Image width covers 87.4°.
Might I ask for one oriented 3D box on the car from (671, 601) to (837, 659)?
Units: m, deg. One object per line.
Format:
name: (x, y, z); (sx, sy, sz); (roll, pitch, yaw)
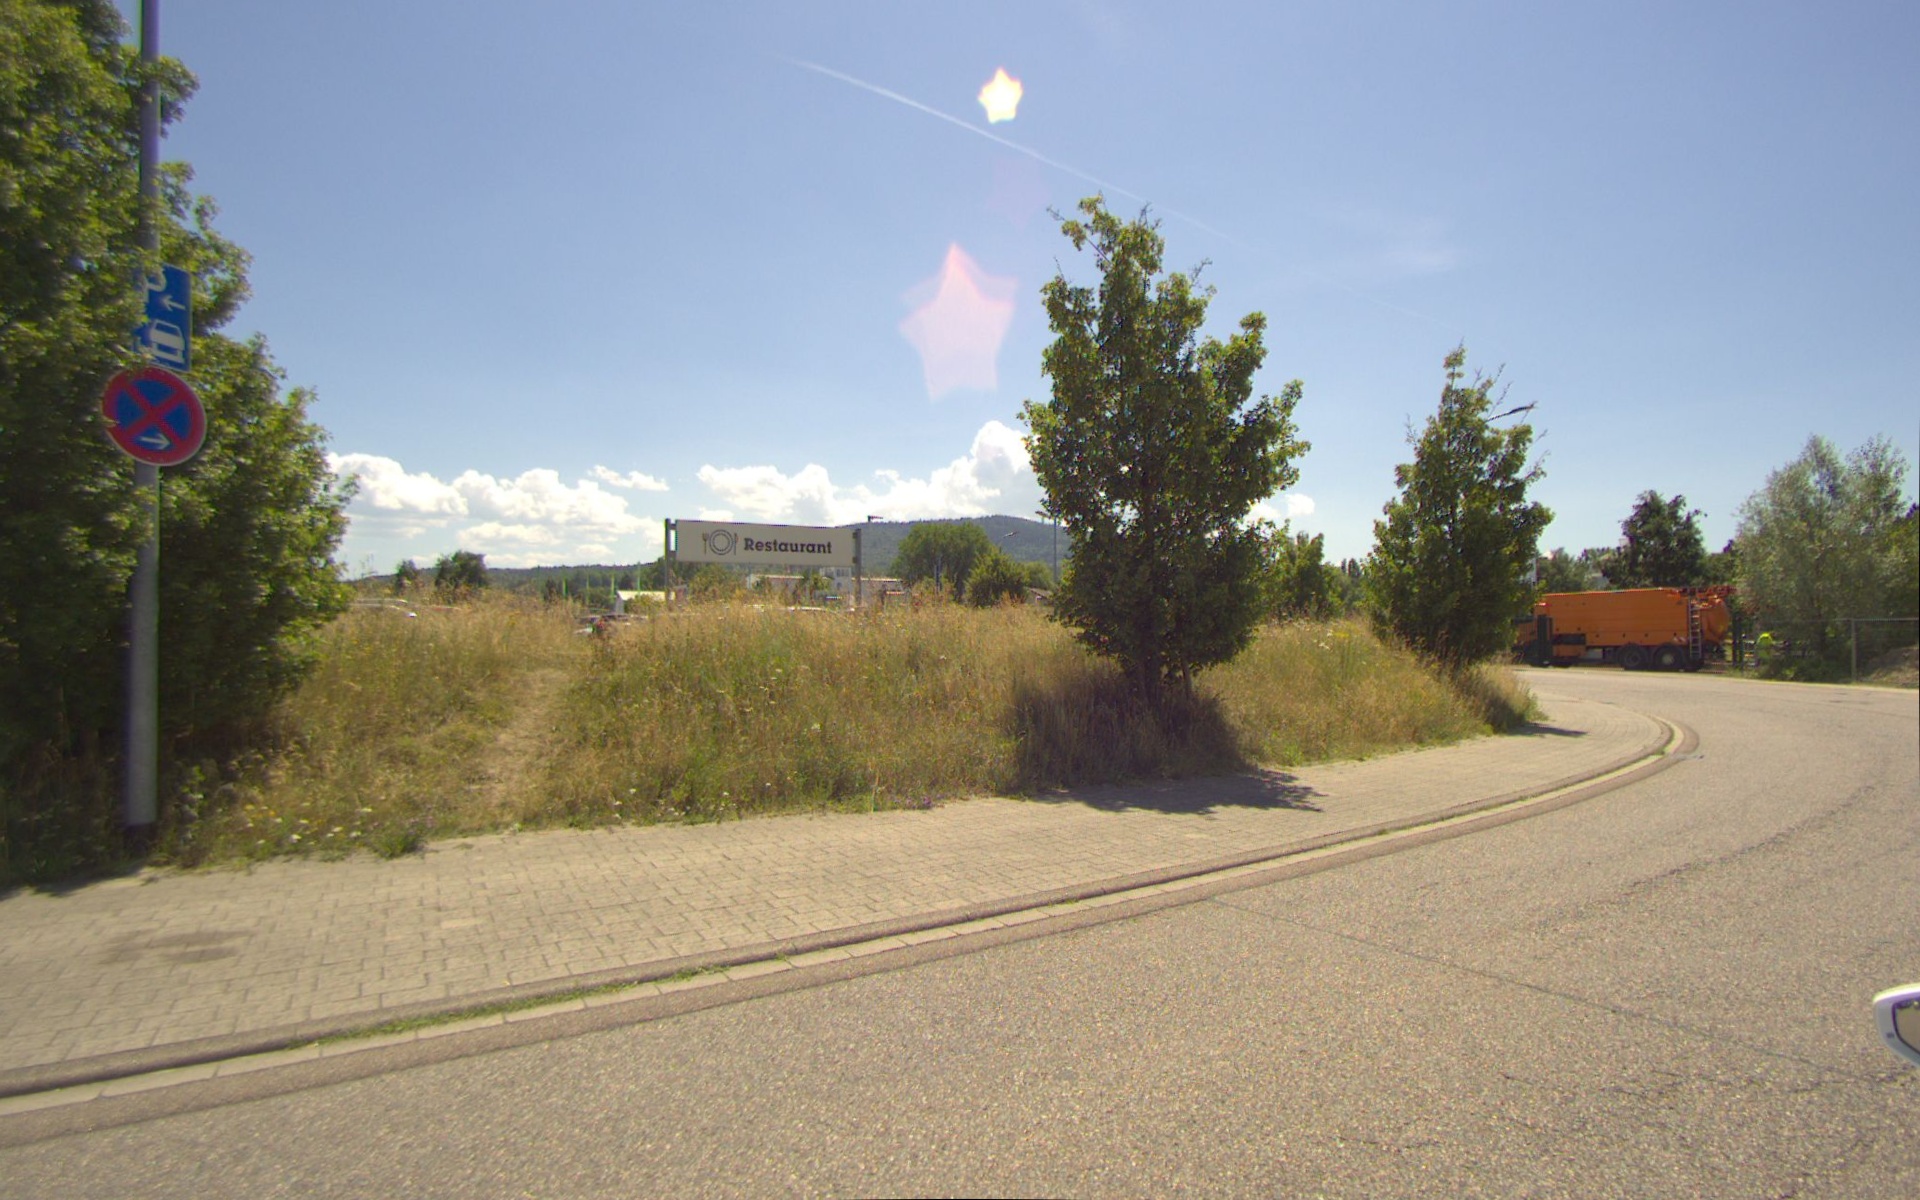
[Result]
car: (-5.511, 0.784, 26.940); (3.955, 1.431, 1.983); (1, -1, -32)

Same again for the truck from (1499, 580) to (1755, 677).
truck: (29.292, 1.276, 44.600); (4.119, 3.856, 8.537); (1, -2, -32)

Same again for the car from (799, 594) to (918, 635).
car: (-4.357, 0.636, 43.335); (4.784, 1.680, 1.983); (1, -1, -32)

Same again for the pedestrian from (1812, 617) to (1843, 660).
pedestrian: (38.229, 1.690, 44.271); (0.731, 1.849, 0.872); (1, -1, -31)
